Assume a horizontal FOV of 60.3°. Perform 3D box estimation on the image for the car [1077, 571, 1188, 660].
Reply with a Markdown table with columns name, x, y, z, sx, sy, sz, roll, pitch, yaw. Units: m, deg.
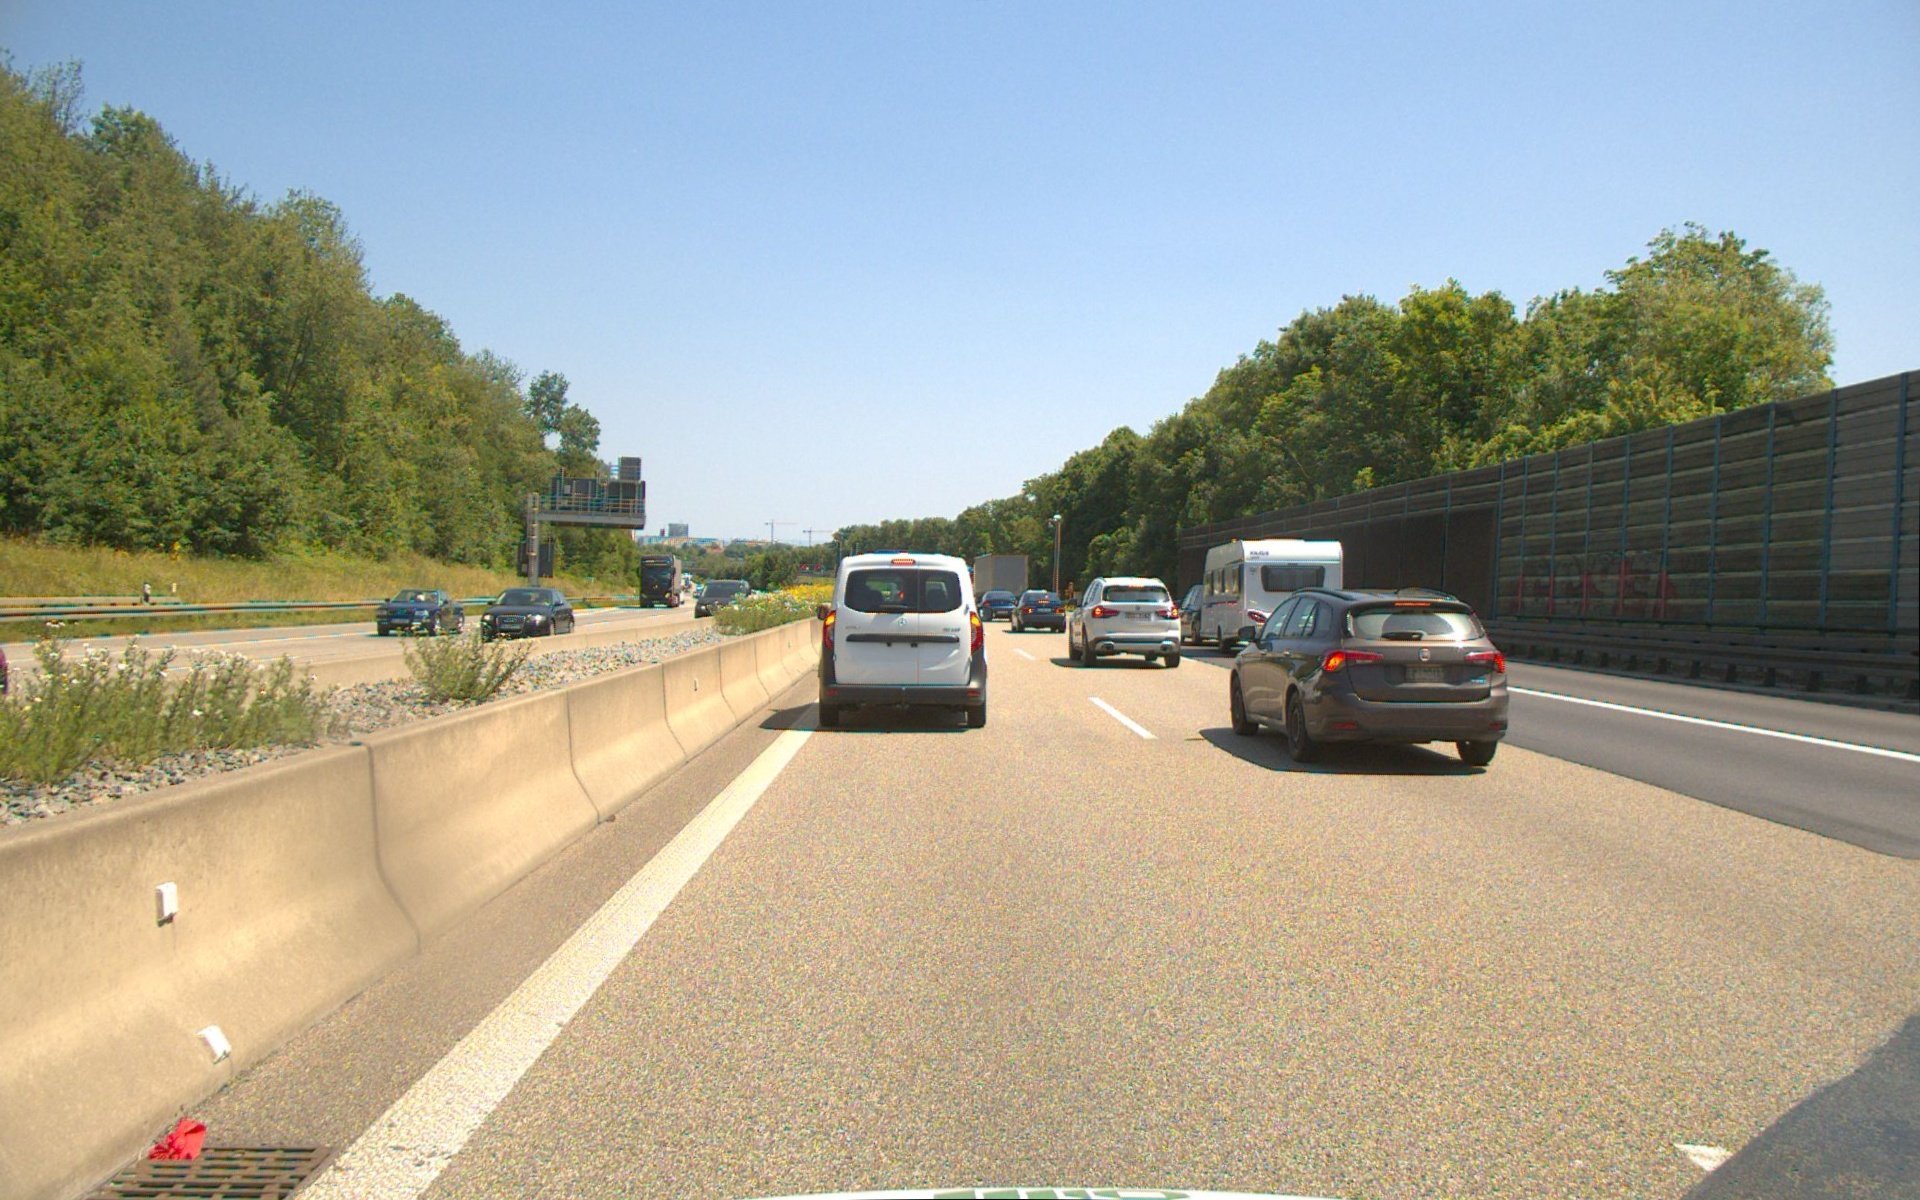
| name | x | y | z | sx | sy | sz | roll | pitch | yaw |
| --- | --- | --- | --- | --- | --- | --- | --- | --- | --- |
| car | 3.336 | 0.258 | 32.634 | 1.832 | 1.636 | 3.879 | 1 | 1 | 1 |

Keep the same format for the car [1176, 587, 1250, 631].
| name | x | y | z | sx | sy | sz | roll | pitch | yaw |
| --- | --- | --- | --- | --- | --- | --- | --- | --- | --- |
| car | 8.630 | 0.290 | 56.724 | 1.787 | 1.449 | 3.998 | 0 | 0 | -2 |

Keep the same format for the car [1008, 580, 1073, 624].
| name | x | y | z | sx | sy | sz | roll | pitch | yaw |
| --- | --- | --- | --- | --- | --- | --- | --- | --- | --- |
| car | 2.716 | 0.060 | 56.410 | 1.788 | 1.449 | 3.997 | 0 | 0 | -3 |

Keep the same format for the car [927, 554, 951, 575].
| name | x | y | z | sx | sy | sz | roll | pitch | yaw |
| --- | --- | --- | --- | --- | --- | --- | --- | --- | --- |
| car | -2.146 | -3.576 | 167.002 | 1.956 | 2.049 | 3.994 | 0 | 0 | -7 |

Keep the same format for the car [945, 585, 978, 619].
| name | x | y | z | sx | sy | sz | roll | pitch | yaw |
| --- | --- | --- | --- | --- | --- | --- | --- | --- | --- |
| car | 0.060 | 0.094 | 101.332 | 1.788 | 2.024 | 3.997 | 0 | 0 | -3 |

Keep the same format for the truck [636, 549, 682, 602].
| name | x | y | z | sx | sy | sz | roll | pitch | yaw |
| --- | --- | --- | --- | --- | --- | --- | --- | --- | --- |
| truck | -23.042 | -1.866 | 126.805 | 2.773 | 4.008 | 6.002 | 0 | 0 | -4 |

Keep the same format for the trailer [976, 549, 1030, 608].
| name | x | y | z | sx | sy | sz | roll | pitch | yaw |
| --- | --- | --- | --- | --- | --- | --- | --- | --- | --- |
| trailer | 3.012 | -1.506 | 119.053 | 3.020 | 4.055 | 10.316 | 0 | 0 | -3 |

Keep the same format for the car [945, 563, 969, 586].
| name | x | y | z | sx | sy | sz | roll | pitch | yaw |
| --- | --- | --- | --- | --- | --- | --- | --- | --- | --- |
| car | -0.310 | -2.267 | 150.221 | 1.954 | 2.049 | 3.998 | 0 | 0 | -3 |

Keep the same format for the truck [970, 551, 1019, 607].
| name | x | y | z | sx | sy | sz | roll | pitch | yaw |
| --- | --- | --- | --- | --- | --- | --- | --- | --- | --- |
| truck | 2.573 | -1.576 | 126.730 | 3.020 | 4.055 | 9.640 | 0 | 0 | -3 |

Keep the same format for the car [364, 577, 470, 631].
| name | x | y | z | sx | sy | sz | roll | pitch | yaw |
| --- | --- | --- | --- | --- | --- | --- | --- | --- | --- |
| car | -15.673 | 0.078 | 47.920 | 1.803 | 1.478 | 3.999 | 1 | 1 | -1 |

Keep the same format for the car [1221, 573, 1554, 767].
| name | x | y | z | sx | sy | sz | roll | pitch | yaw |
| --- | --- | --- | --- | --- | --- | --- | --- | --- | --- |
| car | 3.772 | 0.526 | 15.447 | 1.801 | 1.539 | 4.400 | 1 | 1 | -2 |

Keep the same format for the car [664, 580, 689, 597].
| name | x | y | z | sx | sy | sz | roll | pitch | yaw |
| --- | --- | --- | --- | --- | --- | --- | --- | --- | --- |
| car | -29.796 | -1.192 | 173.845 | 1.953 | 1.721 | 4.765 | 0 | 0 | -3 |

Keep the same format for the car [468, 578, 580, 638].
| name | x | y | z | sx | sy | sz | roll | pitch | yaw |
| --- | --- | --- | --- | --- | --- | --- | --- | --- | --- |
| car | -11.034 | 0.167 | 42.159 | 1.776 | 1.426 | 4.270 | 1 | 1 | -1 |

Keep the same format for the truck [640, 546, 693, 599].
| name | x | y | z | sx | sy | sz | roll | pitch | yaw |
| --- | --- | --- | --- | --- | --- | --- | --- | --- | --- |
| truck | -23.478 | -2.177 | 132.905 | 2.773 | 4.007 | 13.734 | 0 | 0 | -4 |

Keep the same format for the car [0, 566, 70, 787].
| name | x | y | z | sx | sy | sz | roll | pitch | yaw |
| --- | --- | --- | --- | --- | --- | --- | --- | --- | --- |
| car | -7.145 | 0.499 | 9.386 | 1.837 | 1.435 | 4.411 | 0 | 0 | -1 |

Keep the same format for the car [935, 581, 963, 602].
| name | x | y | z | sx | sy | sz | roll | pitch | yaw |
| --- | --- | --- | --- | --- | --- | --- | --- | --- | --- |
| car | -0.796 | -0.606 | 117.381 | 1.788 | 1.472 | 3.997 | 0 | 0 | -3 |

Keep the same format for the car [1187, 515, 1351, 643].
| name | x | y | z | sx | sy | sz | roll | pitch | yaw |
| --- | --- | --- | --- | --- | --- | --- | --- | --- | --- |
| car | 7.247 | -0.474 | 39.579 | 2.429 | 2.814 | 6.216 | 0 | 0 | -3 |

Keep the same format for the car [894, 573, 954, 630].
| name | x | y | z | sx | sy | sz | roll | pitch | yaw |
| --- | --- | --- | --- | --- | --- | --- | --- | --- | --- |
| car | -1.285 | 0.038 | 57.227 | 1.954 | 1.892 | 3.997 | 0 | 0 | -3 |

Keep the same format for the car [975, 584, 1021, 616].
| name | x | y | z | sx | sy | sz | roll | pitch | yaw |
| --- | --- | --- | --- | --- | --- | --- | --- | --- | --- |
| car | 1.737 | -0.017 | 76.472 | 1.788 | 1.449 | 3.997 | 0 | 0 | -3 |

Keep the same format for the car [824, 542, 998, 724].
| name | x | y | z | sx | sy | sz | roll | pitch | yaw |
| --- | --- | --- | --- | --- | --- | --- | --- | --- | --- |
| car | -0.462 | 0.320 | 18.728 | 1.765 | 1.839 | 4.001 | 0 | 0 | 1 |

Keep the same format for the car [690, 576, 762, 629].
| name | x | y | z | sx | sy | sz | roll | pitch | yaw |
| --- | --- | --- | --- | --- | --- | --- | --- | --- | --- |
| car | -8.111 | 0.046 | 57.676 | 1.953 | 1.754 | 4.356 | 1 | 1 | -1 |

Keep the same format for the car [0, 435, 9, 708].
| name | x | y | z | sx | sy | sz | roll | pitch | yaw |
| --- | --- | --- | --- | --- | --- | --- | --- | --- | --- |
| car | -10.742 | -0.272 | 13.788 | 2.170 | 2.748 | 6.062 | 0 | 0 | -1 |
